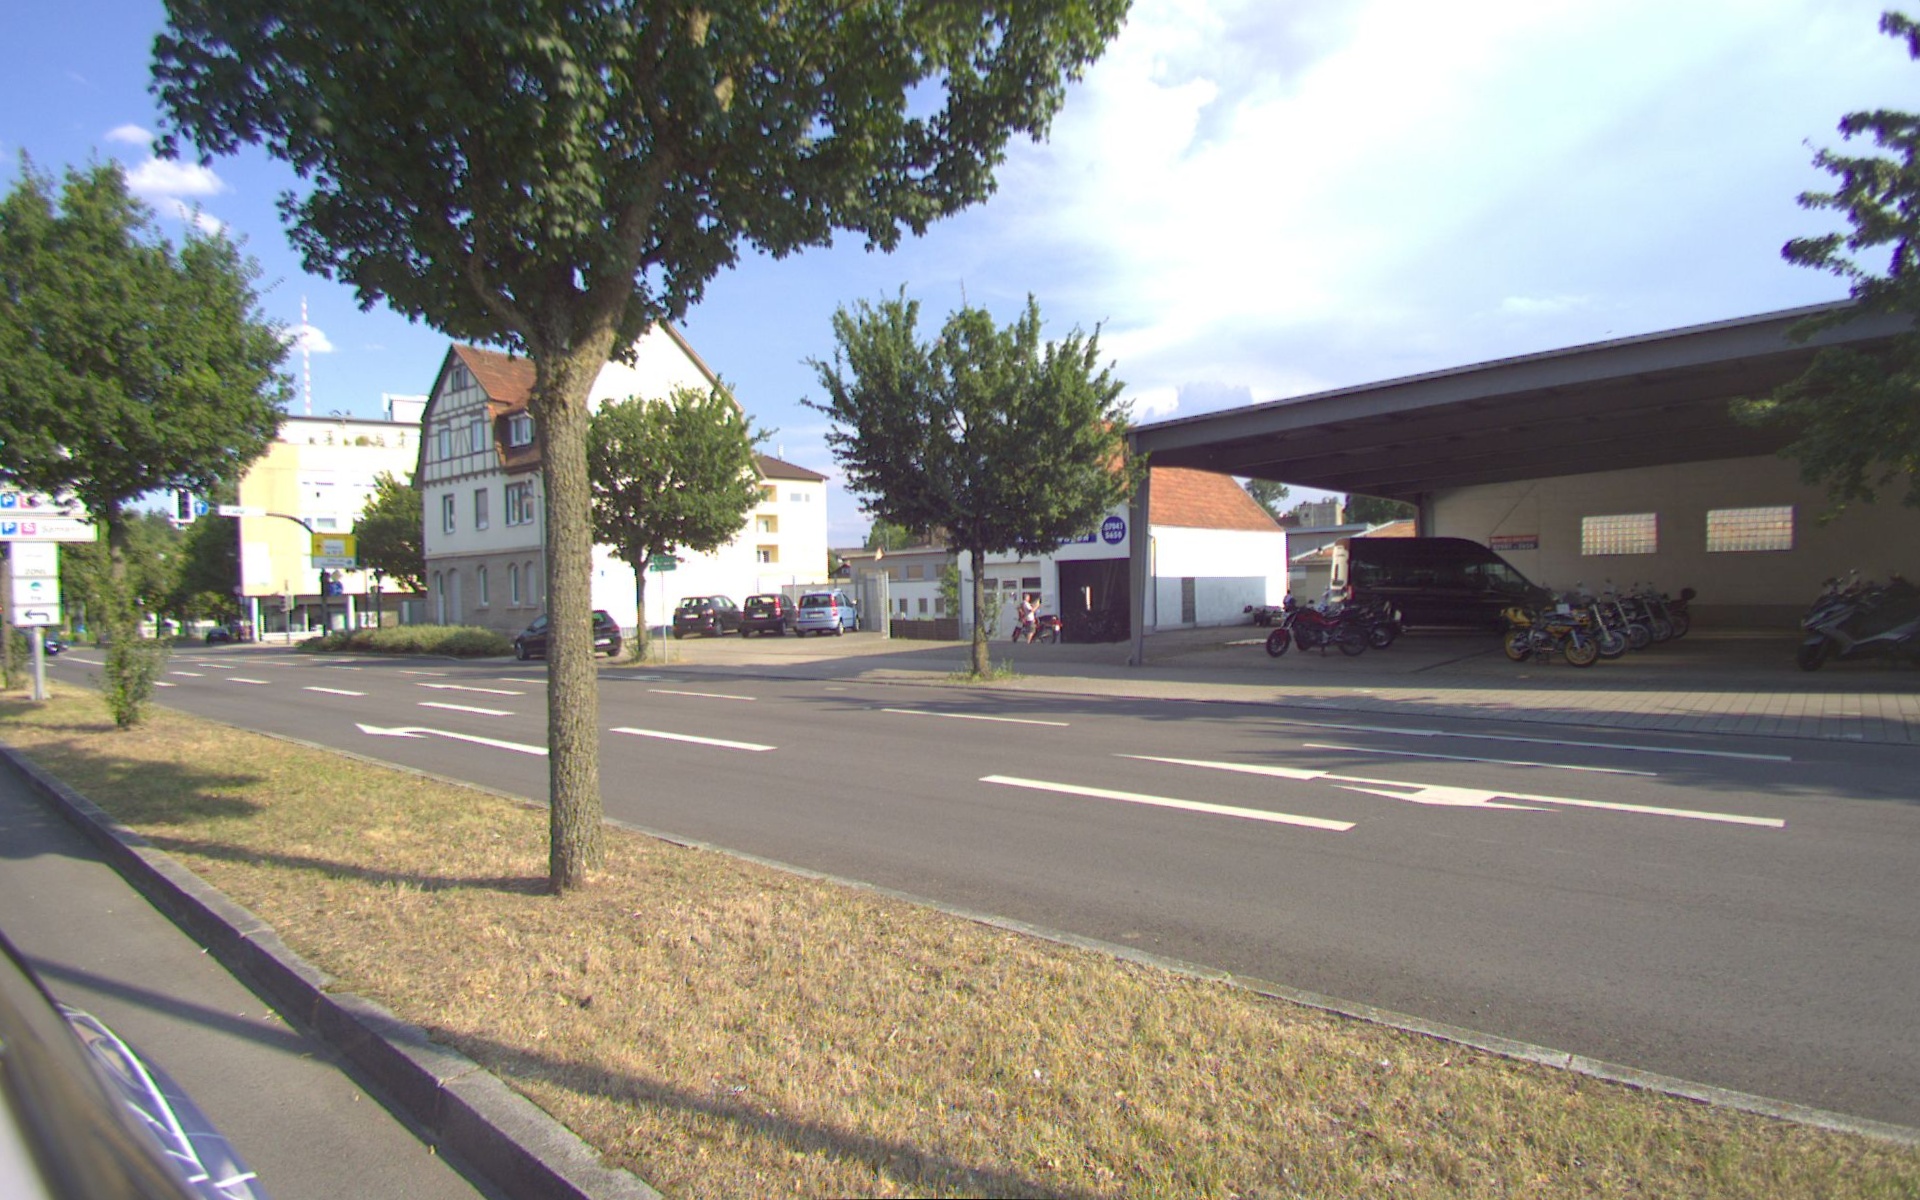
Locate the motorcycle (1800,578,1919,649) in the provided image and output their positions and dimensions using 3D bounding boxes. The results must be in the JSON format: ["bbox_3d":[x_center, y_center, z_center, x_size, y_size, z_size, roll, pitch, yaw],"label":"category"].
[{"bbox_3d":[18.056,0.270,19.982,2.103,1.306,0.628,-3,-1,17],"label":"motorcycle"}]

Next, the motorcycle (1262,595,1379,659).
[{"bbox_3d":[7.508,0.563,21.153,2.202,1.290,0.629,-1,0,11],"label":"motorcycle"}]

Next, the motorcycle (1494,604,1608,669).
[{"bbox_3d":[10.542,0.621,18.145,0.621,1.095,2.038,-1,0,-7],"label":"motorcycle"}]

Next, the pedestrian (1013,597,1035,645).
[{"bbox_3d":[2.083,0.676,32.758,0.485,1.530,0.496,-1,0,41],"label":"pedestrian"}]

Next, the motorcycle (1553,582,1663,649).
[{"bbox_3d":[13.875,0.325,21.762,0.621,1.347,2.269,-1,0,-9],"label":"motorcycle"}]

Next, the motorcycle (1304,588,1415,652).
[{"bbox_3d":[8.968,0.451,22.797,2.198,1.372,0.630,-1,0,5],"label":"motorcycle"}]

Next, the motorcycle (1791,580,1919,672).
[{"bbox_3d":[13.872,0.377,15.109,2.103,1.306,0.628,-3,-1,17],"label":"motorcycle"}]

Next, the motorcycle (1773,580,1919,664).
[{"bbox_3d":[14.924,0.363,16.769,2.103,1.306,0.628,-3,-1,17],"label":"motorcycle"}]

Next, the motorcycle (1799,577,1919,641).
[{"bbox_3d":[20.240,0.207,22.637,2.103,1.306,0.628,-3,-1,17],"label":"motorcycle"}]

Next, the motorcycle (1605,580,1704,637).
[{"bbox_3d":[17.302,0.220,25.296,0.621,1.347,2.269,-1,0,-9],"label":"motorcycle"}]

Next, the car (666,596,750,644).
[{"bbox_3d":[-9.311,0.692,37.692,1.797,1.512,3.819,-3,2,5],"label":"car"}]

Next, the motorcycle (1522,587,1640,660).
[{"bbox_3d":[12.170,0.439,19.949,0.621,1.347,2.269,-1,0,-9],"label":"motorcycle"}]

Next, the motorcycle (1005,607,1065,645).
[{"bbox_3d":[2.445,0.840,33.203,1.974,1.194,0.577,-1,0,41],"label":"motorcycle"}]

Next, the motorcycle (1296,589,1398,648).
[{"bbox_3d":[9.390,0.453,24.601,2.198,1.372,0.630,-1,0,5],"label":"motorcycle"}]

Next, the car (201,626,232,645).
[{"bbox_3d":[-72.222,3.434,98.358,1.752,1.706,4.013,-1,0,-27],"label":"car"}]

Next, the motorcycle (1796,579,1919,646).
[{"bbox_3d":[19.046,0.256,21.283,2.103,1.306,0.628,-3,-1,17],"label":"motorcycle"}]

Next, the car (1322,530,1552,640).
[{"bbox_3d":[12.877,-0.378,27.621,5.221,2.773,1.996,-1,0,7],"label":"car"}]

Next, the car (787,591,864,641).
[{"bbox_3d":[-4.671,0.522,35.670,1.797,1.512,3.819,-3,2,5],"label":"car"}]

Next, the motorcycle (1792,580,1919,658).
[{"bbox_3d":[16.542,0.341,18.341,2.103,1.306,0.628,-3,-1,17],"label":"motorcycle"}]

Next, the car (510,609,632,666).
[{"bbox_3d":[-11.589,1.084,30.069,3.823,1.462,1.795,-1,2,42],"label":"car"}]

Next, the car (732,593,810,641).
[{"bbox_3d":[-6.910,0.588,37.300,1.797,1.512,3.819,-3,2,5],"label":"car"}]

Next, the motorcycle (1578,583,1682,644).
[{"bbox_3d":[15.548,0.302,23.572,0.621,1.347,2.269,-1,0,-9],"label":"motorcycle"}]

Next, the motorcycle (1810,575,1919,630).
[{"bbox_3d":[23.745,0.072,26.515,2.103,1.306,0.628,-3,-1,17],"label":"motorcycle"}]
